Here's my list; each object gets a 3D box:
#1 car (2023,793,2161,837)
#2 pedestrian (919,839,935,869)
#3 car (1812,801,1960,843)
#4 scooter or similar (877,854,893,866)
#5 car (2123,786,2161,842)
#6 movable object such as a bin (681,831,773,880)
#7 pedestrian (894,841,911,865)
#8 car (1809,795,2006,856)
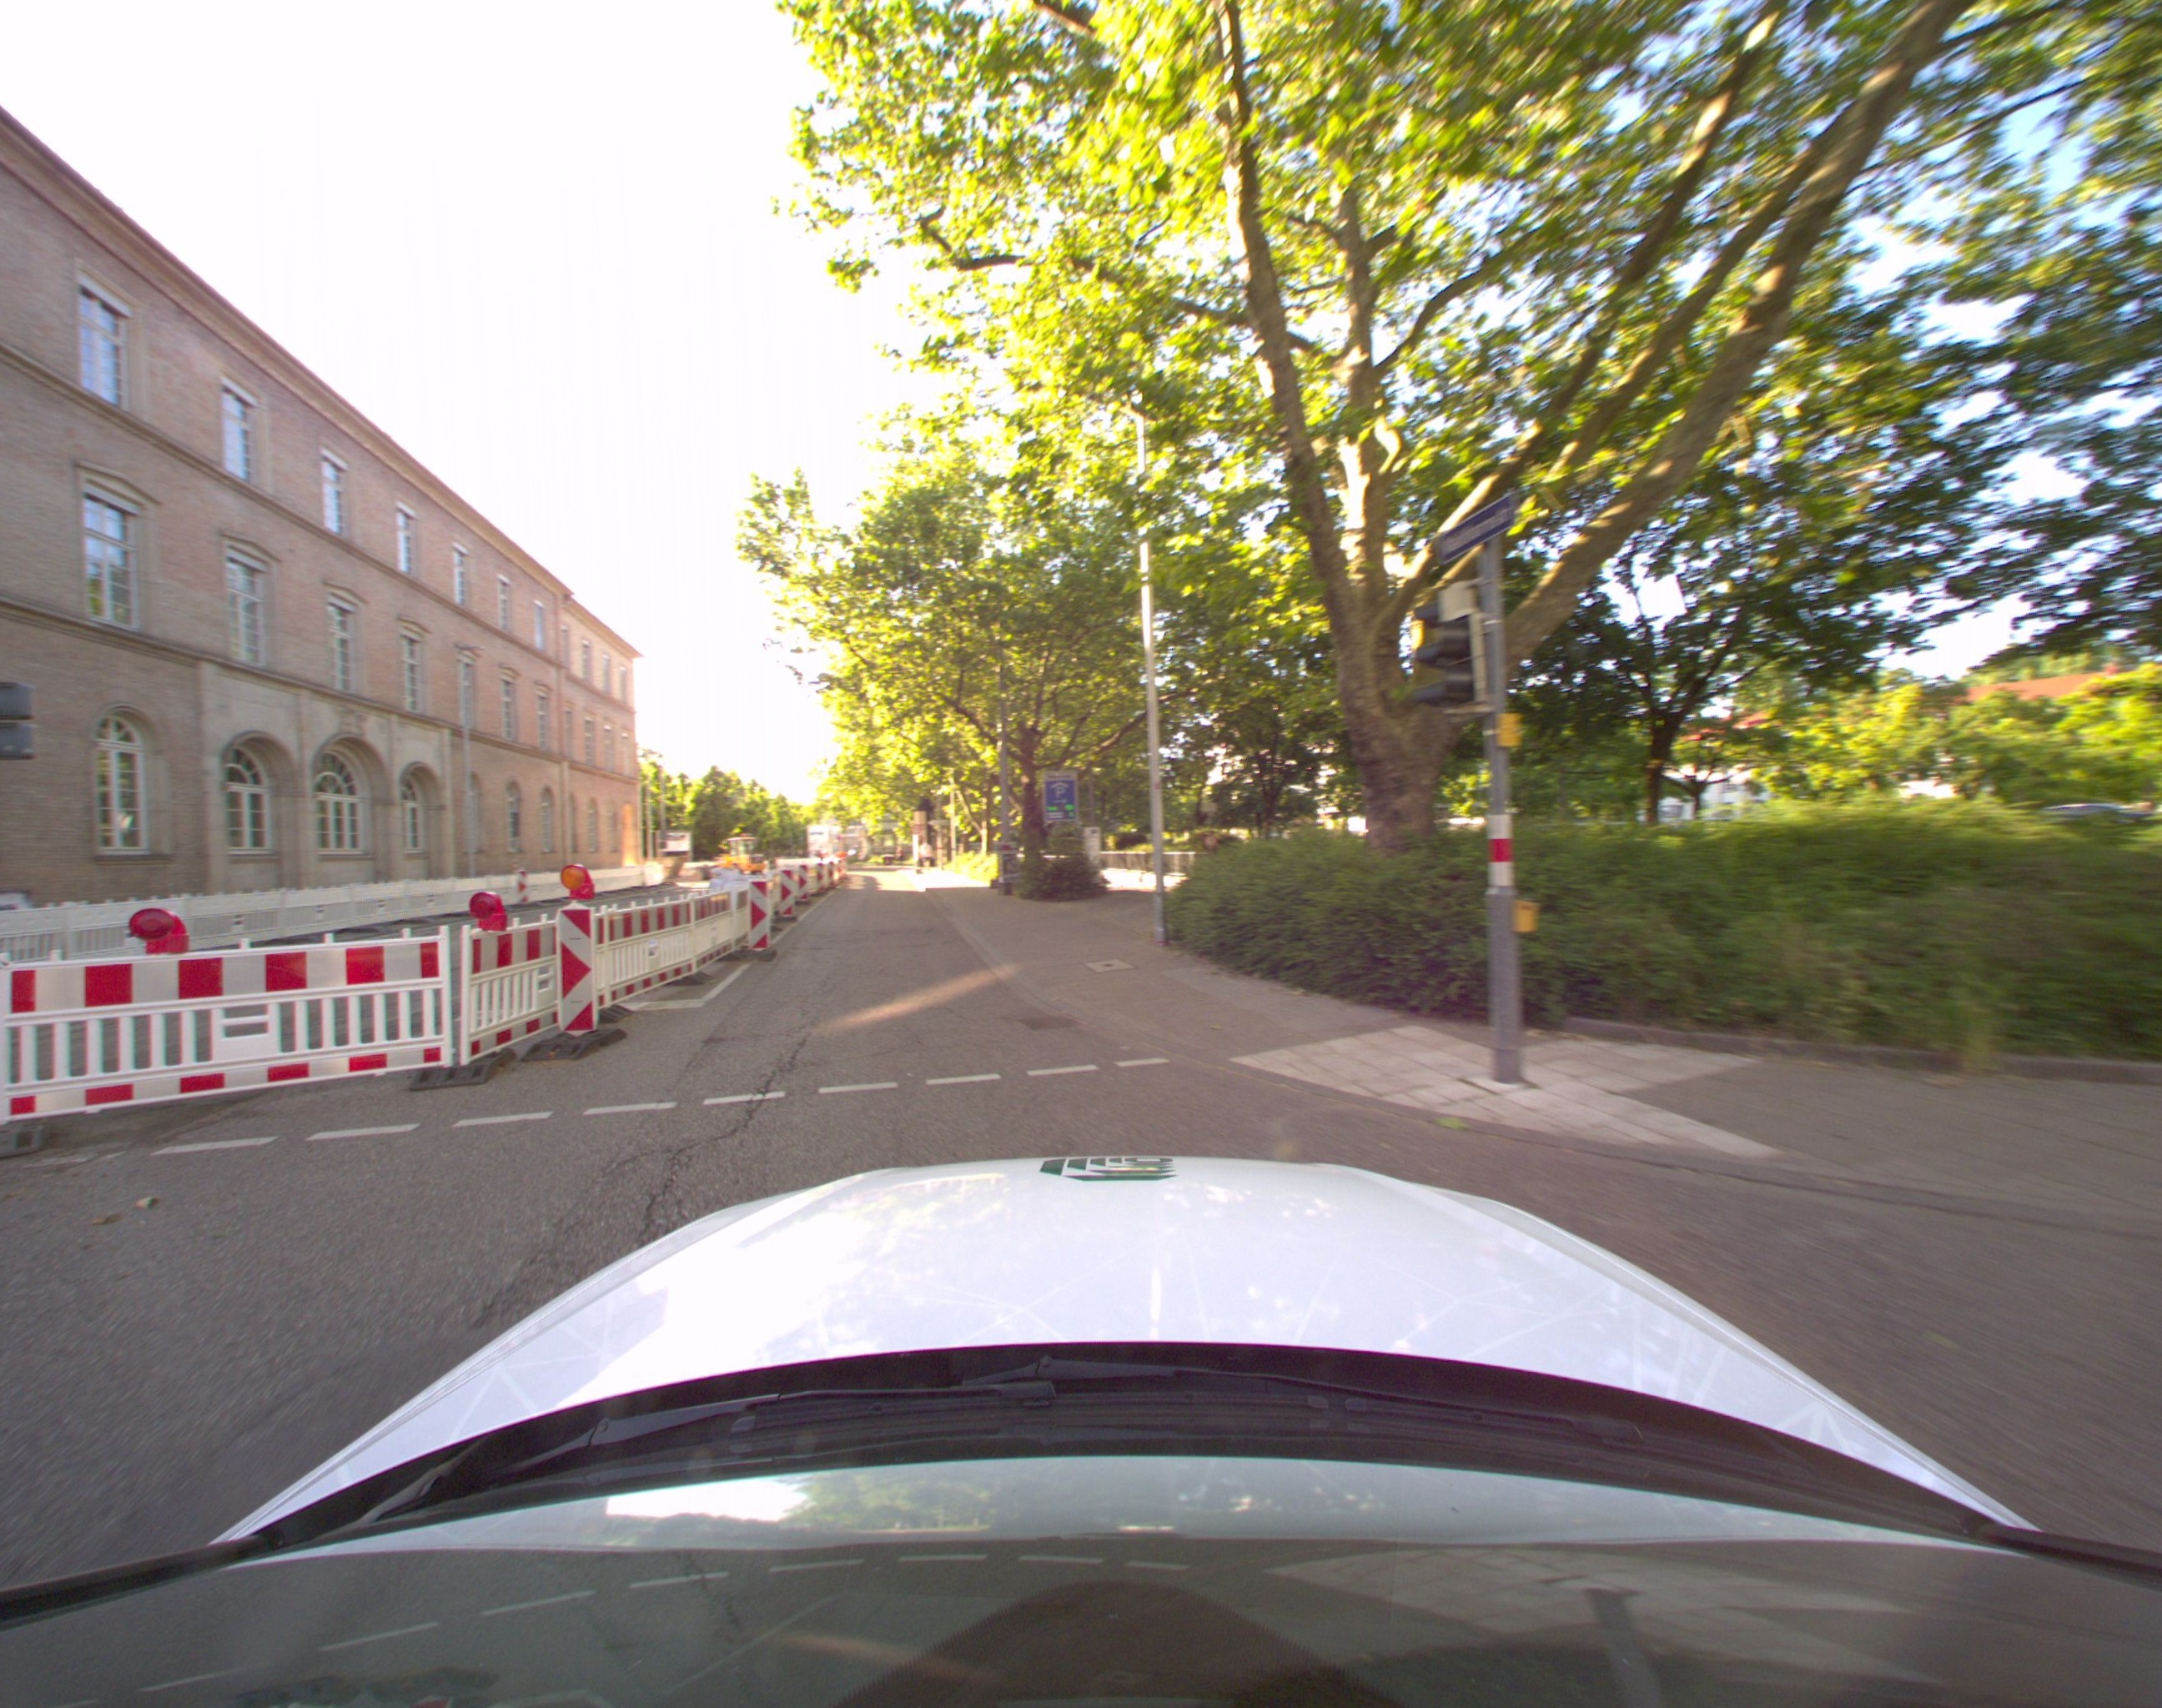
[{"bbox_3d":[47.556,-1.786,38.201,1.921,1.946,4.025,-1,1,-15],"label":"car"},{"bbox_3d":[-9.553,-0.019,50.502,0.747,1.812,1.127,-2,2,-18],"label":"pedestrian"},{"bbox_3d":[33.302,-1.281,33.833,1.920,1.626,3.982,-1,1,-14],"label":"car"},{"bbox_3d":[-15.938,0.486,66.131,1.151,0.914,0.416,-4,0,-22],"label":"scooter or similar"},{"bbox_3d":[41.852,-1.520,29.760,1.785,2.088,4.289,-2,1,-15],"label":"car"},{"bbox_3d":[-24.064,0.098,55.347,5.855,3.031,2.583,-2,1,29],"label":"movable object such as a bin"},{"bbox_3d":[-12.671,-0.060,57.681,0.927,1.623,0.715,-2,0,44],"label":"pedestrian"},{"bbox_3d":[27.280,-0.906,27.094,1.785,1.811,4.289,-2,1,-15],"label":"car"}]
